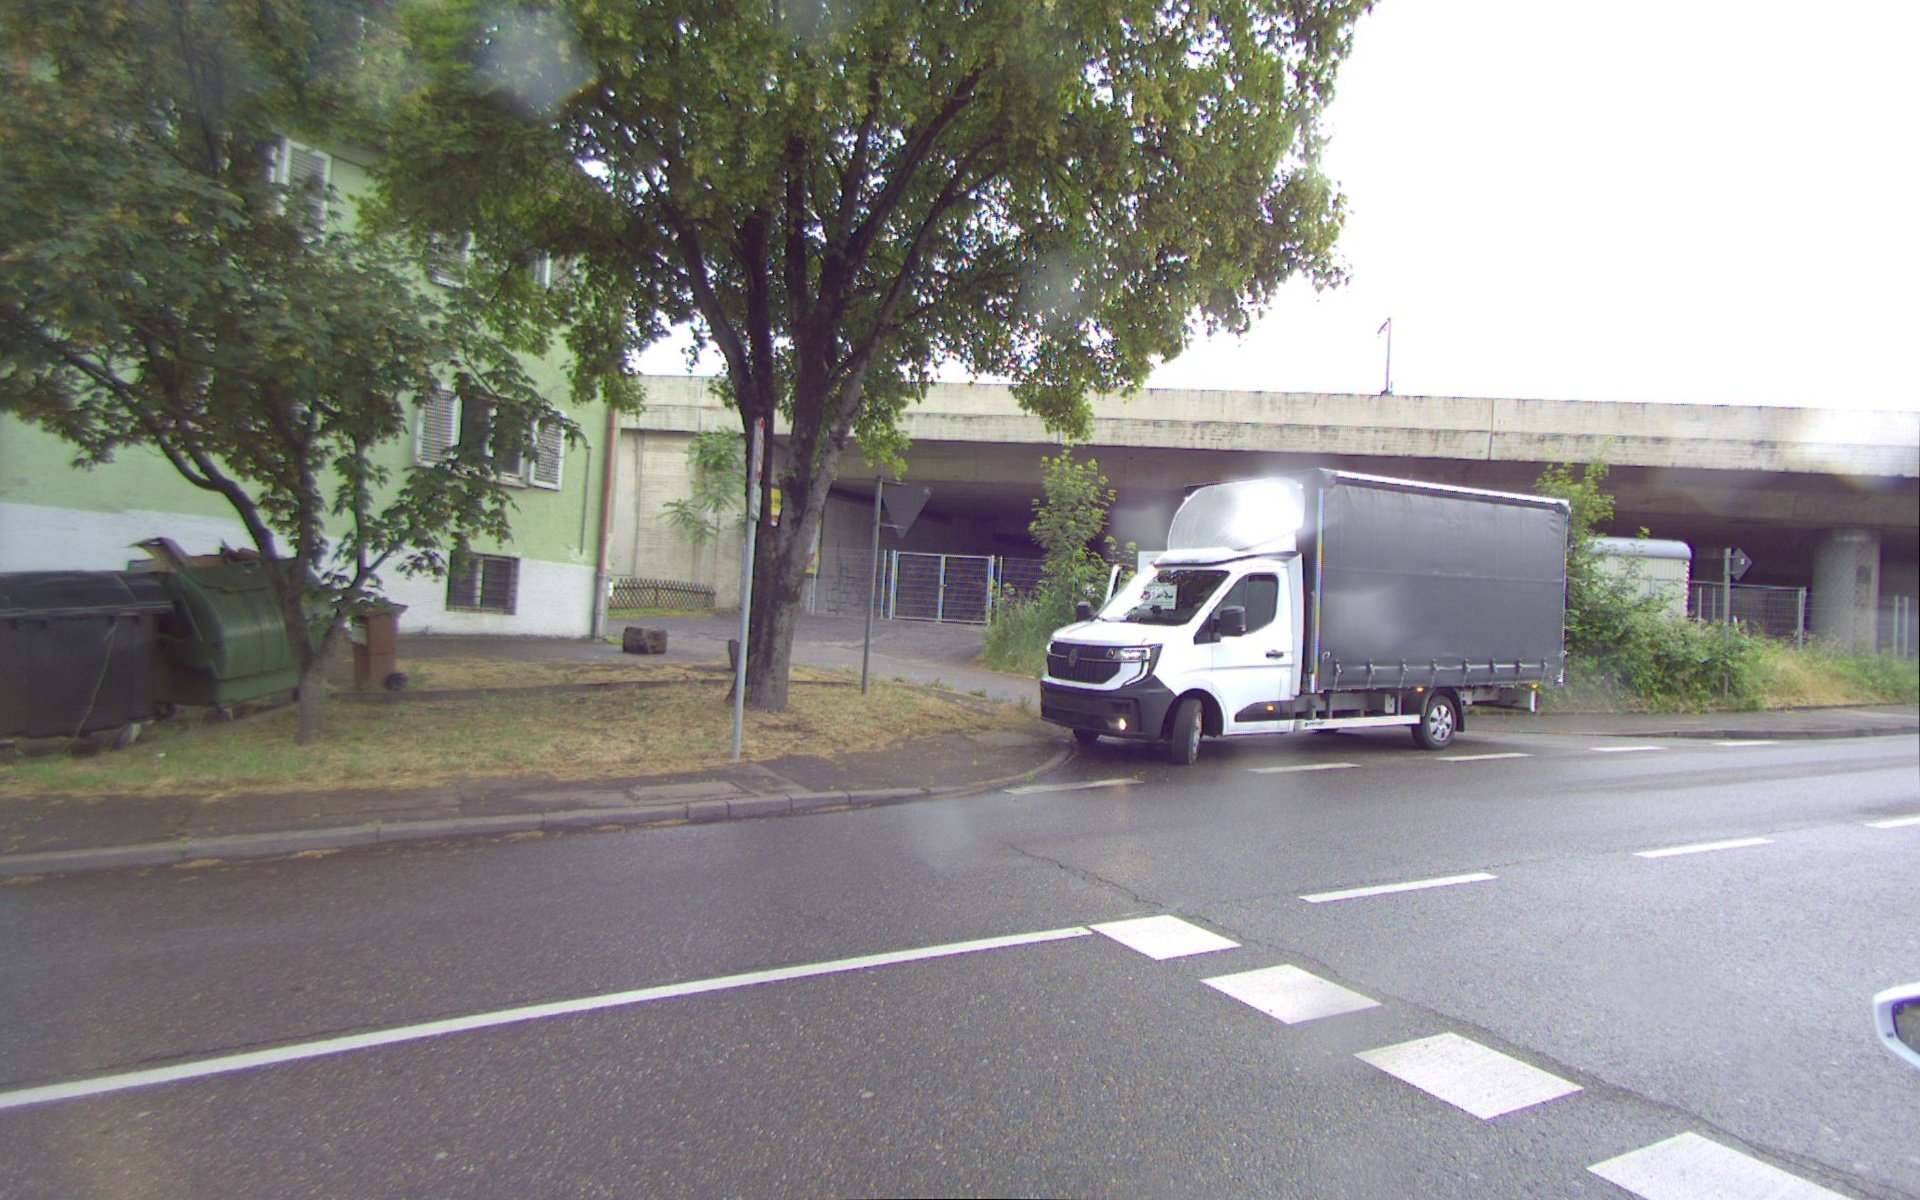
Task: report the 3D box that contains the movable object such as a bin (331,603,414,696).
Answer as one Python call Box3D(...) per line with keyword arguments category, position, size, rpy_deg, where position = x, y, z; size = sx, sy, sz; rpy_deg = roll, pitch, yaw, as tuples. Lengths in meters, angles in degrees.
Box3D(category="movable object such as a bin", position=(-6.361, 0.532, 10.900), size=(0.715, 0.970, 0.554), rpy_deg=(3, -1, -30))

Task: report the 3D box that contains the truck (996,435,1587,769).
Box3D(category="truck", position=(4.453, 0.178, 12.854), size=(7.681, 3.279, 2.599), rpy_deg=(3, -1, -29))

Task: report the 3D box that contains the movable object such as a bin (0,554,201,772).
Box3D(category="movable object such as a bin", position=(-7.304, 0.418, 8.054), size=(1.268, 1.457, 1.463), rpy_deg=(5, 5, 13))

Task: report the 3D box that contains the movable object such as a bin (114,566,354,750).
Box3D(category="movable object such as a bin", position=(-6.737, 0.471, 9.418), size=(1.078, 1.457, 1.463), rpy_deg=(5, 5, 13))
